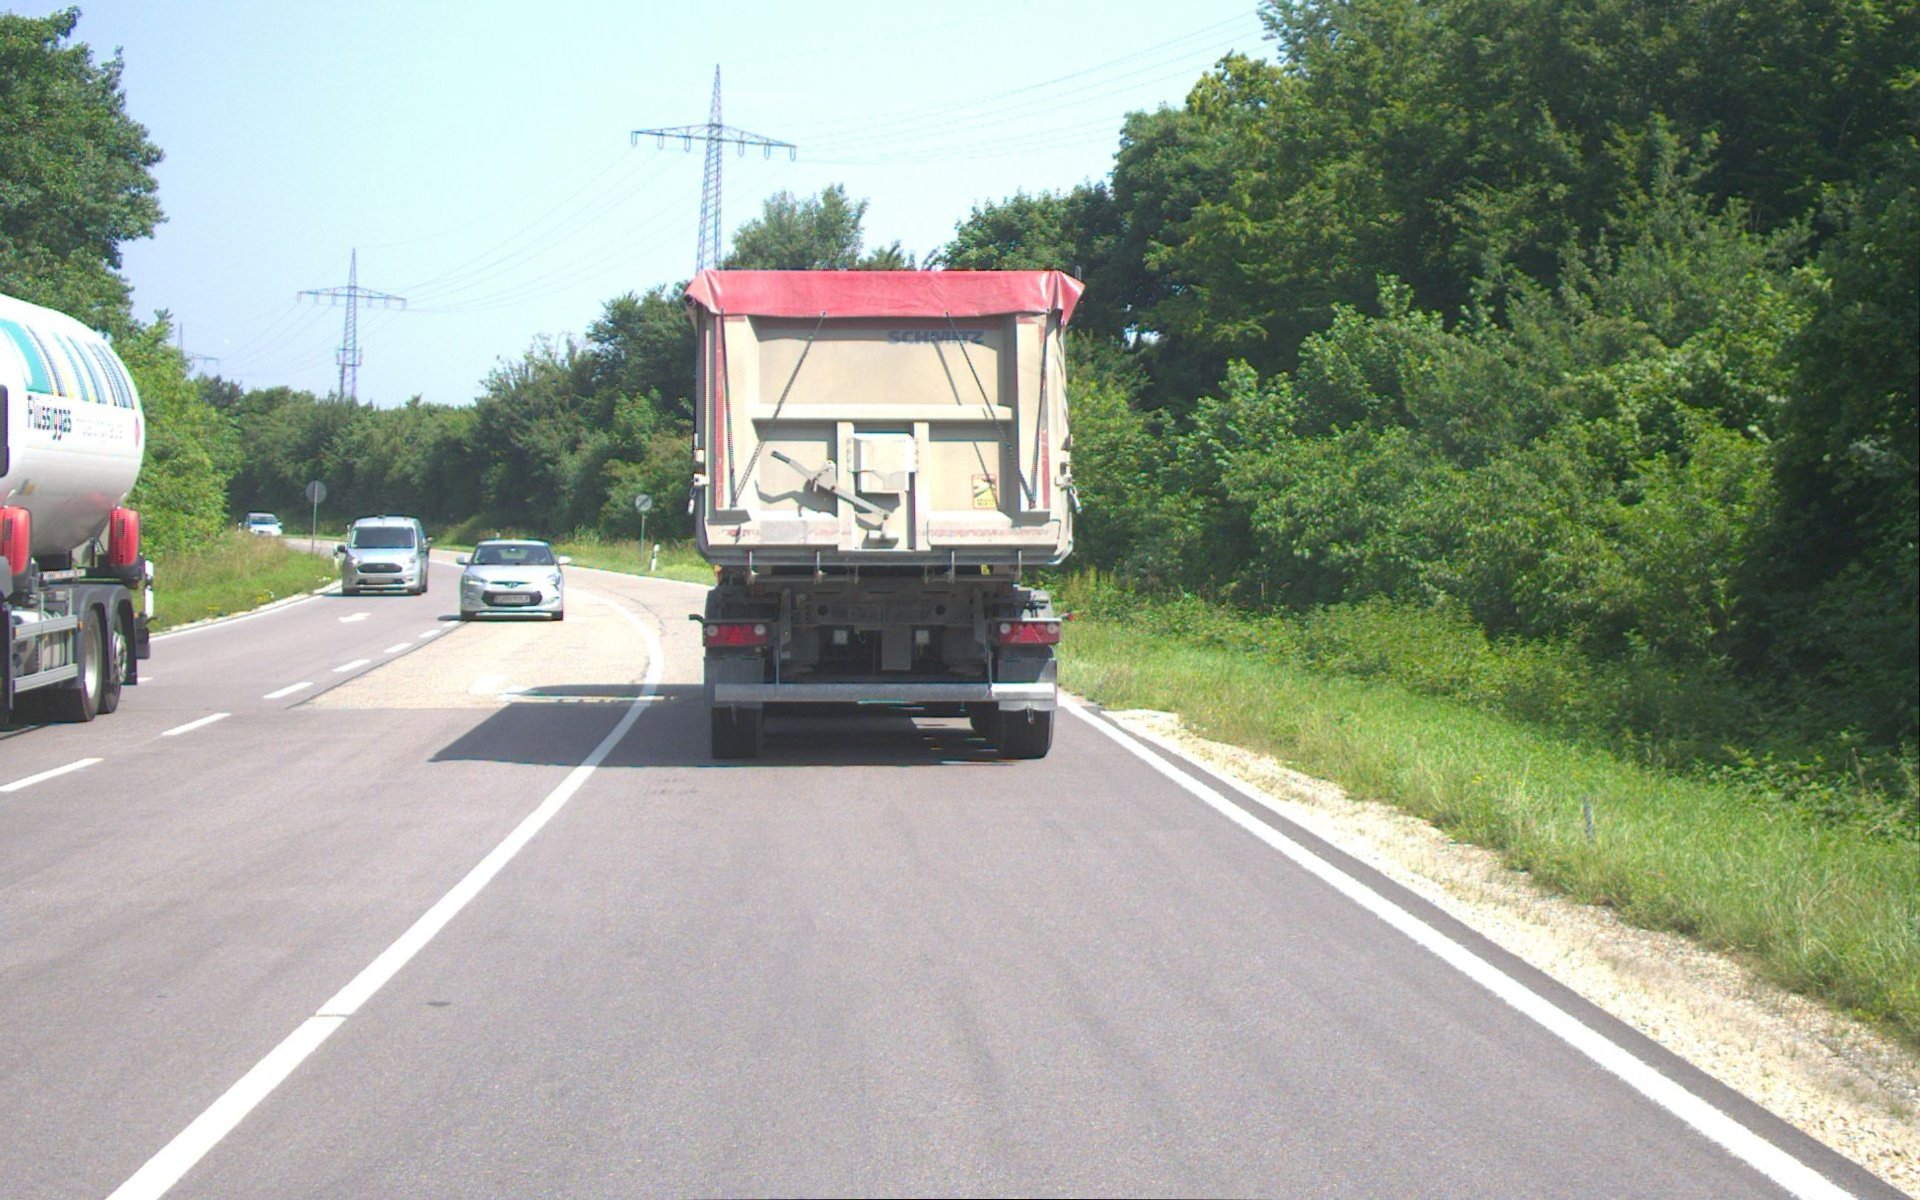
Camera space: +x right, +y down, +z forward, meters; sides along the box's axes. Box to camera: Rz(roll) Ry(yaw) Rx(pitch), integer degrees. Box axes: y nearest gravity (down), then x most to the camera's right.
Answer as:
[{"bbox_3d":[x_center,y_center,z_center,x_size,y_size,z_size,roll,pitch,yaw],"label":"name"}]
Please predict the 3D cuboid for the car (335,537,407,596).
[{"bbox_3d":[-18.393,-1.026,107.554,1.842,1.773,4.894,0,0,-6],"label":"car"}]

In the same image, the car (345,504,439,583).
[{"bbox_3d":[-13.214,-1.287,80.168,1.842,1.773,4.894,0,0,-6],"label":"car"}]

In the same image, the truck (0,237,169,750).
[{"bbox_3d":[-8.376,-0.808,27.514,2.627,3.658,8.797,0,1,-4],"label":"truck"}]

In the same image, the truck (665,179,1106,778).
[{"bbox_3d":[-0.814,-0.953,28.742,2.893,3.949,11.935,0,1,-3],"label":"truck"}]

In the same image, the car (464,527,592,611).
[{"bbox_3d":[-7.598,-0.534,60.784,1.708,1.414,4.098,0,0,0],"label":"car"}]
